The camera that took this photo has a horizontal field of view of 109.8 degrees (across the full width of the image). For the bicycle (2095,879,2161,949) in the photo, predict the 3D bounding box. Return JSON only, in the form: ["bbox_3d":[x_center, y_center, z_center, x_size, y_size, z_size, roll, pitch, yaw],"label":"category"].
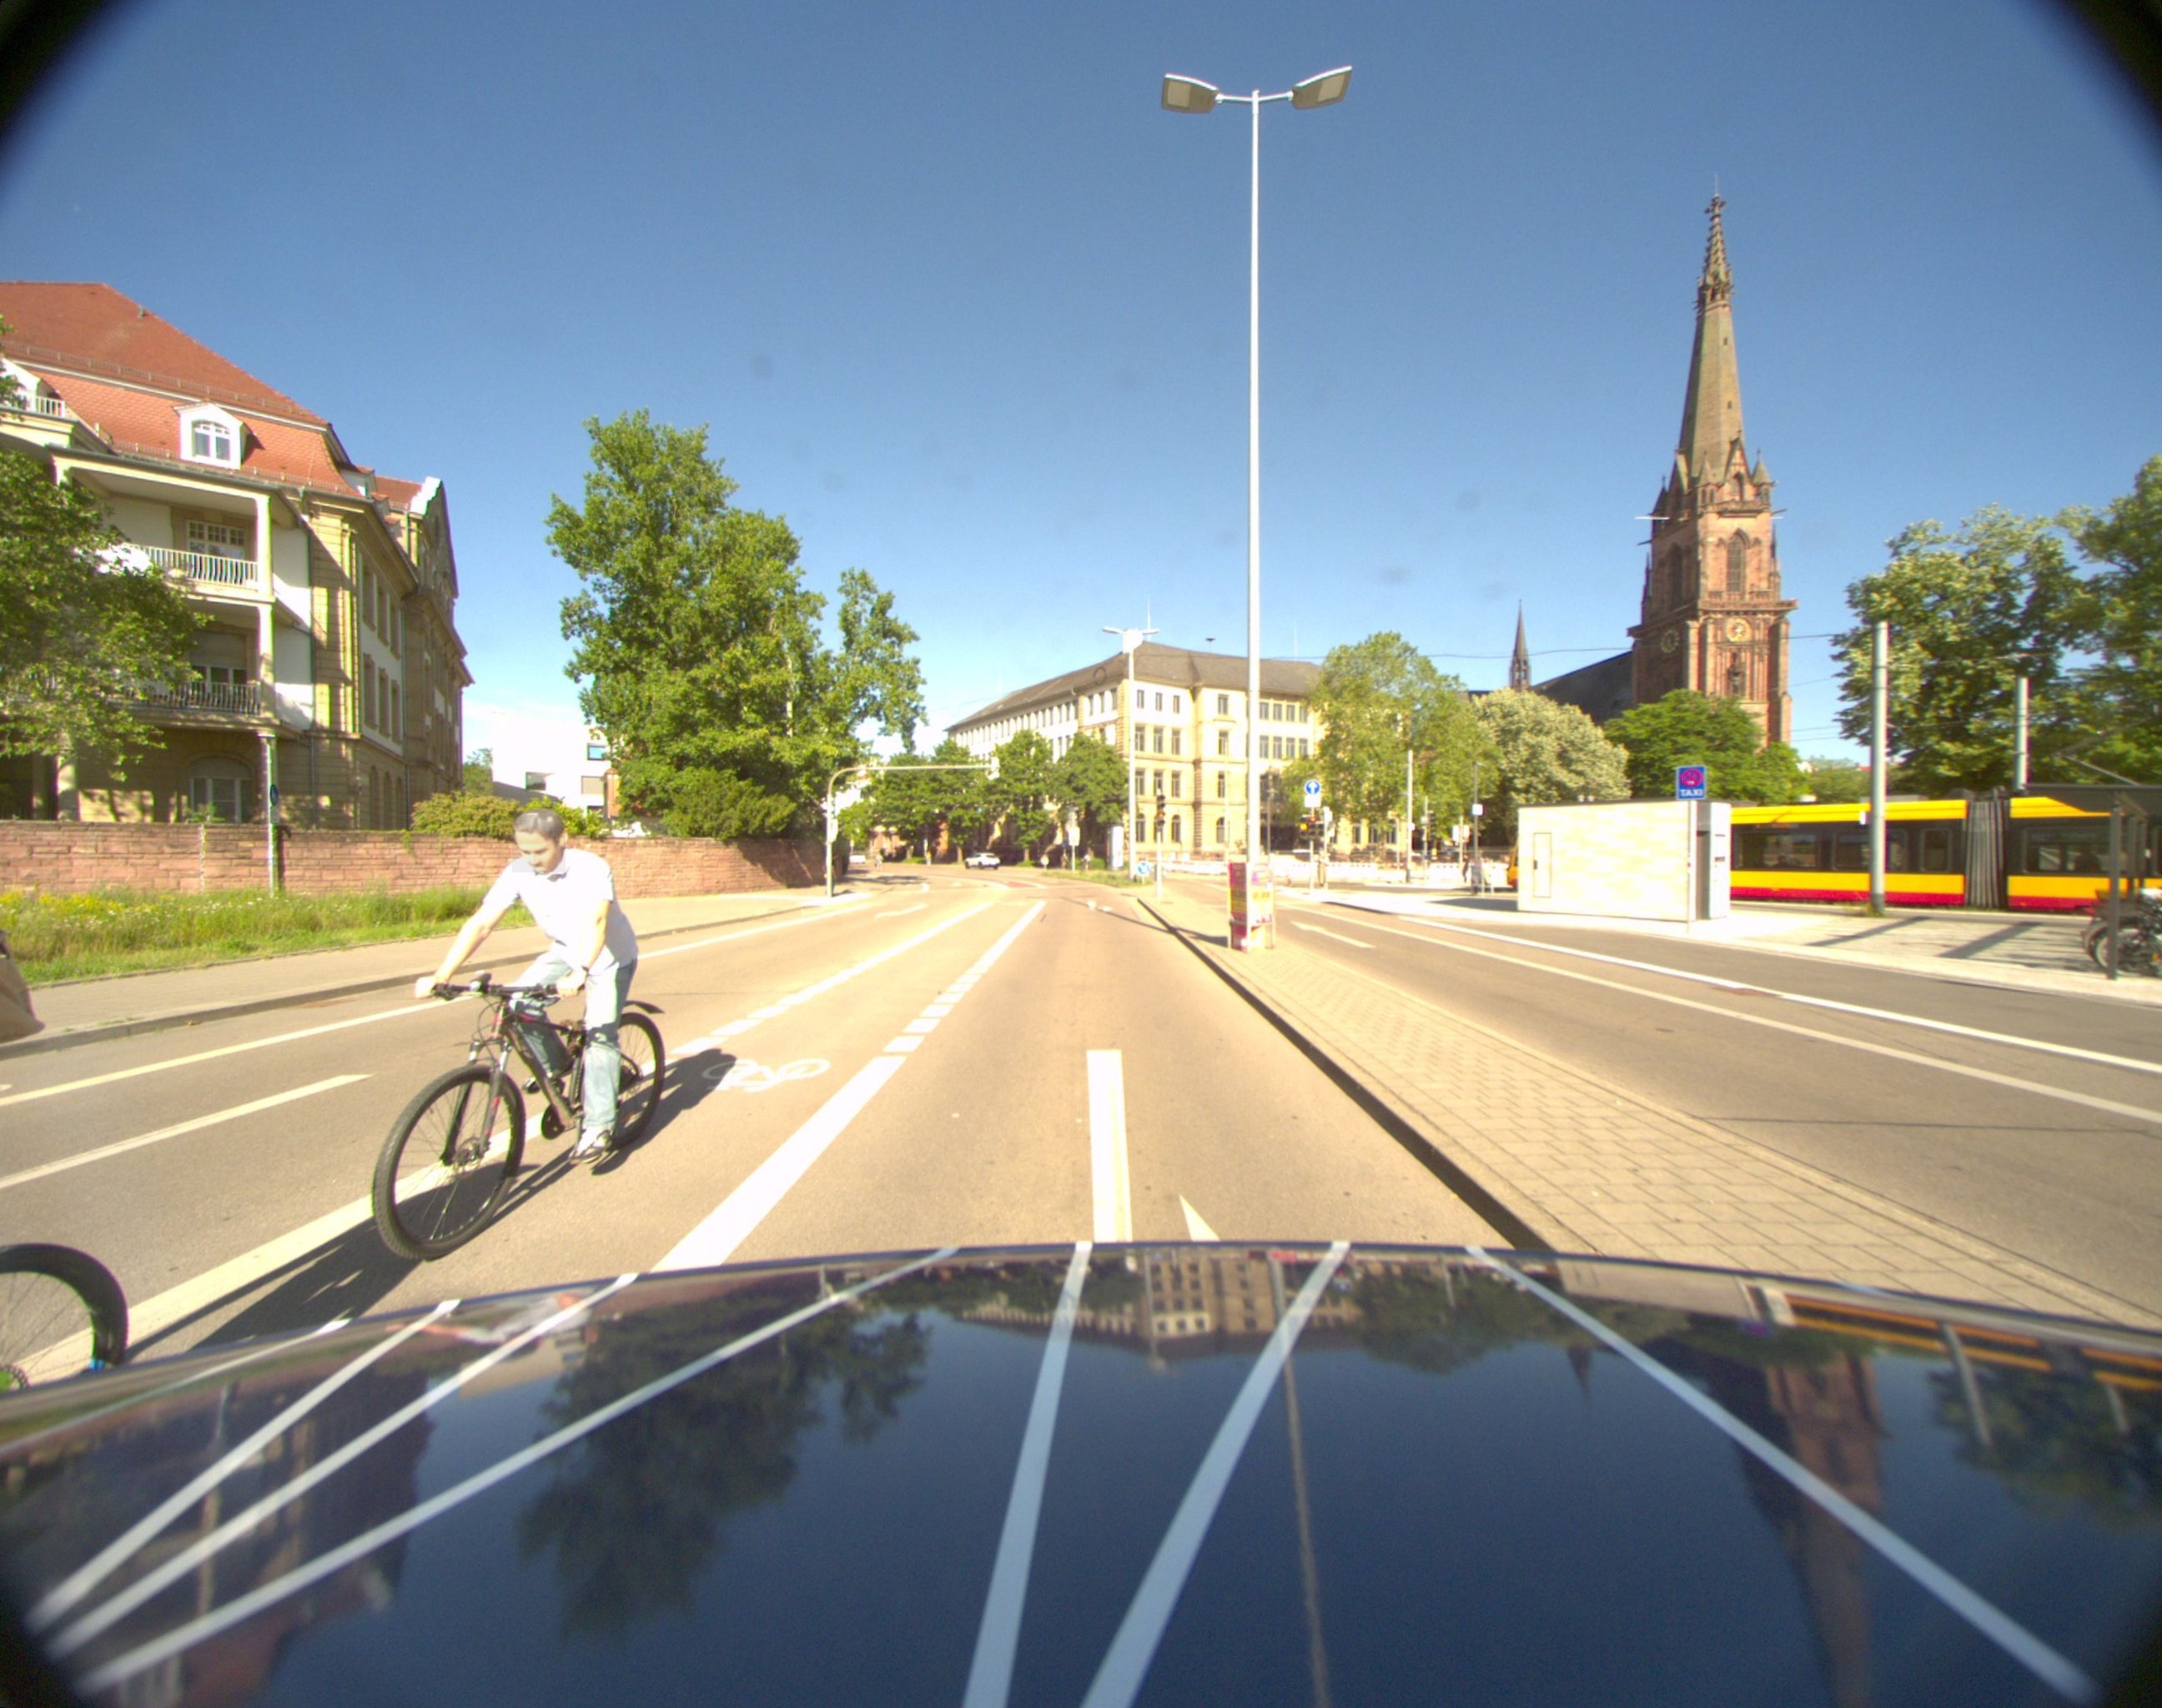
[{"bbox_3d":[18.952,1.047,13.024,0.630,1.173,1.826,-1,1,-32],"label":"bicycle"}]

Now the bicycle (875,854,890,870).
[{"bbox_3d":[-18.148,0.700,69.468,0.763,1.360,2.731,-1,1,-28],"label":"bicycle"}]

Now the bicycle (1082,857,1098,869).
[{"bbox_3d":[0.807,0.800,68.275,0.601,1.000,1.983,-3,1,-25],"label":"bicycle"}]

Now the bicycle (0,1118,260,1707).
[{"bbox_3d":[-2.534,1.236,1.084,0.673,1.044,1.843,-2,1,0],"label":"bicycle"}]

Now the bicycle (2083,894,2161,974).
[{"bbox_3d":[15.147,1.115,10.302,0.574,1.045,1.826,-1,1,-32],"label":"bicycle"}]

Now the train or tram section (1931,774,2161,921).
[{"bbox_3d":[28.907,-0.154,17.398,2.806,3.580,12.294,-1,1,-35],"label":"train or tram section"}]

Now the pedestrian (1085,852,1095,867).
[{"bbox_3d":[0.807,0.487,68.267,0.597,1.394,0.644,-3,1,-26],"label":"pedestrian"}]

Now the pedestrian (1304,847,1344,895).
[{"bbox_3d":[9.516,0.669,29.779,1.229,1.845,0.827,0,1,-6],"label":"pedestrian"}]

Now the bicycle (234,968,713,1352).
[{"bbox_3d":[-2.580,1.214,3.606,0.749,1.044,1.903,0,1,-1],"label":"bicycle"}]

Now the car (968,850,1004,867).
[{"bbox_3d":[-9.371,0.448,74.374,1.851,1.543,4.324,1,1,-32],"label":"car"}]

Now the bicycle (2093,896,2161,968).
[{"bbox_3d":[16.184,1.161,10.975,0.630,1.002,1.826,-1,1,-32],"label":"bicycle"}]

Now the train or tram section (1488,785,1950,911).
[{"bbox_3d":[21.841,-0.206,27.590,2.806,3.580,12.504,-1,1,-35],"label":"train or tram section"}]

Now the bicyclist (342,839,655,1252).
[{"bbox_3d":[-2.579,0.769,3.486,0.742,1.664,0.865,0,1,-1],"label":"bicyclist"}]

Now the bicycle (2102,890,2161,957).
[{"bbox_3d":[17.171,1.098,11.599,0.630,1.002,1.826,-1,1,-32],"label":"bicycle"}]

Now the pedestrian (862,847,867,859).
[{"bbox_3d":[-35.468,-0.129,124.496,0.758,1.801,0.980,-2,-2,-14],"label":"pedestrian"}]

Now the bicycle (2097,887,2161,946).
[{"bbox_3d":[19.531,1.123,13.432,0.630,1.002,1.826,-1,1,-32],"label":"bicycle"}]

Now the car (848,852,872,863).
[{"bbox_3d":[-30.165,0.488,103.650,1.853,1.477,4.154,-1,1,-35],"label":"car"}]

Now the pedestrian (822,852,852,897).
[{"bbox_3d":[-10.295,0.849,32.077,0.960,1.839,0.731,1,1,4],"label":"pedestrian"}]

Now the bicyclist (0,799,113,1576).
[{"bbox_3d":[-2.553,0.689,1.157,0.676,1.574,1.081,-2,1,0],"label":"bicyclist"}]

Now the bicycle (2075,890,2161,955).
[{"bbox_3d":[17.819,1.136,12.435,0.630,1.002,1.826,-1,1,-32],"label":"bicycle"}]

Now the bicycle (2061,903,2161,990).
[{"bbox_3d":[13.939,1.206,9.566,0.702,1.002,1.863,-1,2,-32],"label":"bicycle"}]

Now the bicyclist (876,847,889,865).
[{"bbox_3d":[-18.100,0.177,69.352,0.871,1.551,1.277,-1,1,-29],"label":"bicyclist"}]

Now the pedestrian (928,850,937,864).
[{"bbox_3d":[-19.195,0.416,98.454,0.759,1.802,0.977,-1,1,-40],"label":"pedestrian"}]

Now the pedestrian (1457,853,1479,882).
[{"bbox_3d":[23.721,0.814,46.540,0.807,1.731,0.933,-1,1,-35],"label":"pedestrian"}]

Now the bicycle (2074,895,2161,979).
[{"bbox_3d":[14.677,1.129,10.037,0.630,1.059,1.826,-1,1,-32],"label":"bicycle"}]
